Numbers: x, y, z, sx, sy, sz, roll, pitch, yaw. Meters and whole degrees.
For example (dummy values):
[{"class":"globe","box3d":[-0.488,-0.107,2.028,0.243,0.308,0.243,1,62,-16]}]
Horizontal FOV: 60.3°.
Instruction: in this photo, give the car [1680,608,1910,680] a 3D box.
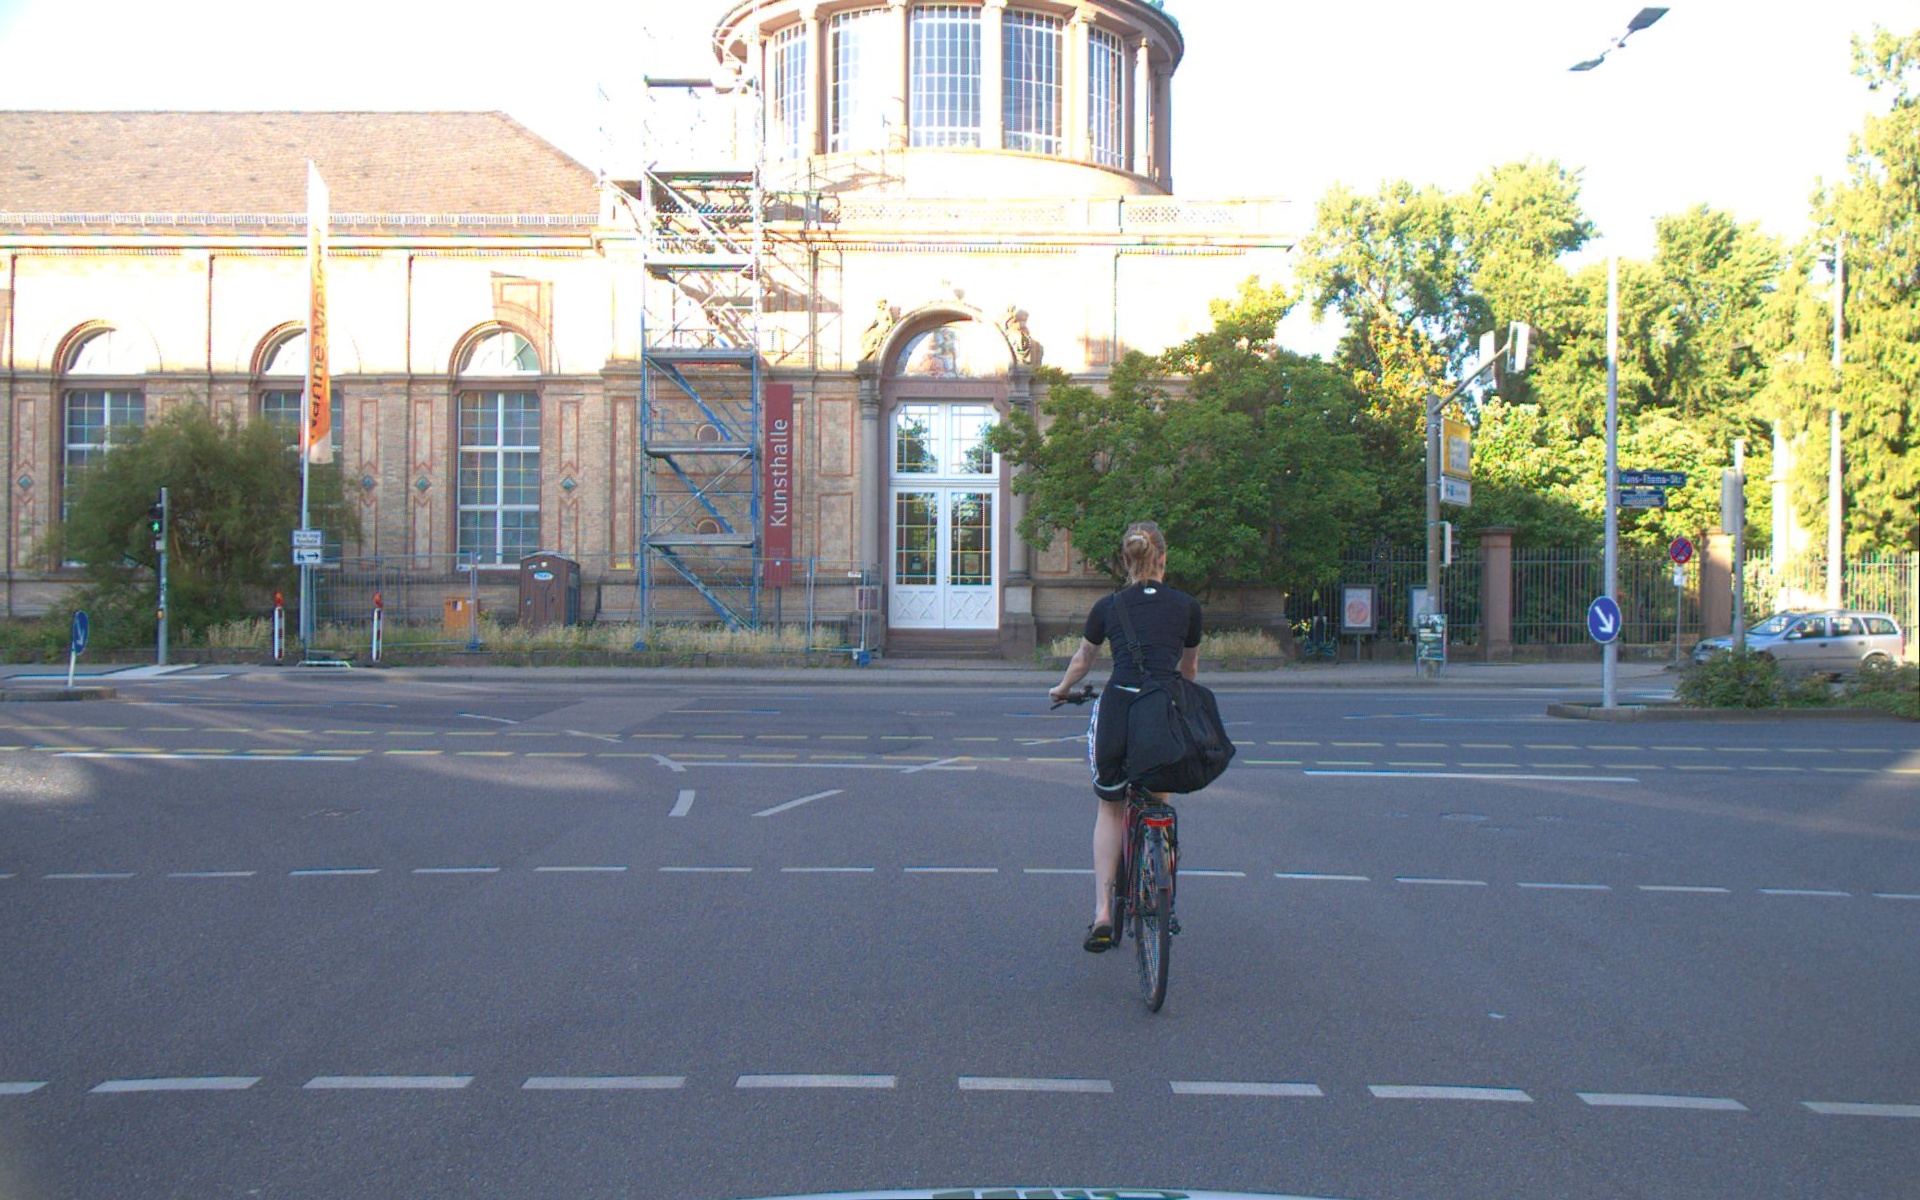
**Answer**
[{"class":"car","box3d":[17.621,0.909,34.992,4.104,1.470,1.713,0,0,-6]}]

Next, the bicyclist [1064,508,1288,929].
[{"class":"bicyclist","box3d":[0.819,0.443,6.474,0.702,1.529,0.849,0,-2,-5]}]

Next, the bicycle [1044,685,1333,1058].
[{"class":"bicycle","box3d":[0.813,0.948,6.515,0.697,1.176,2.066,0,-2,-5]}]
